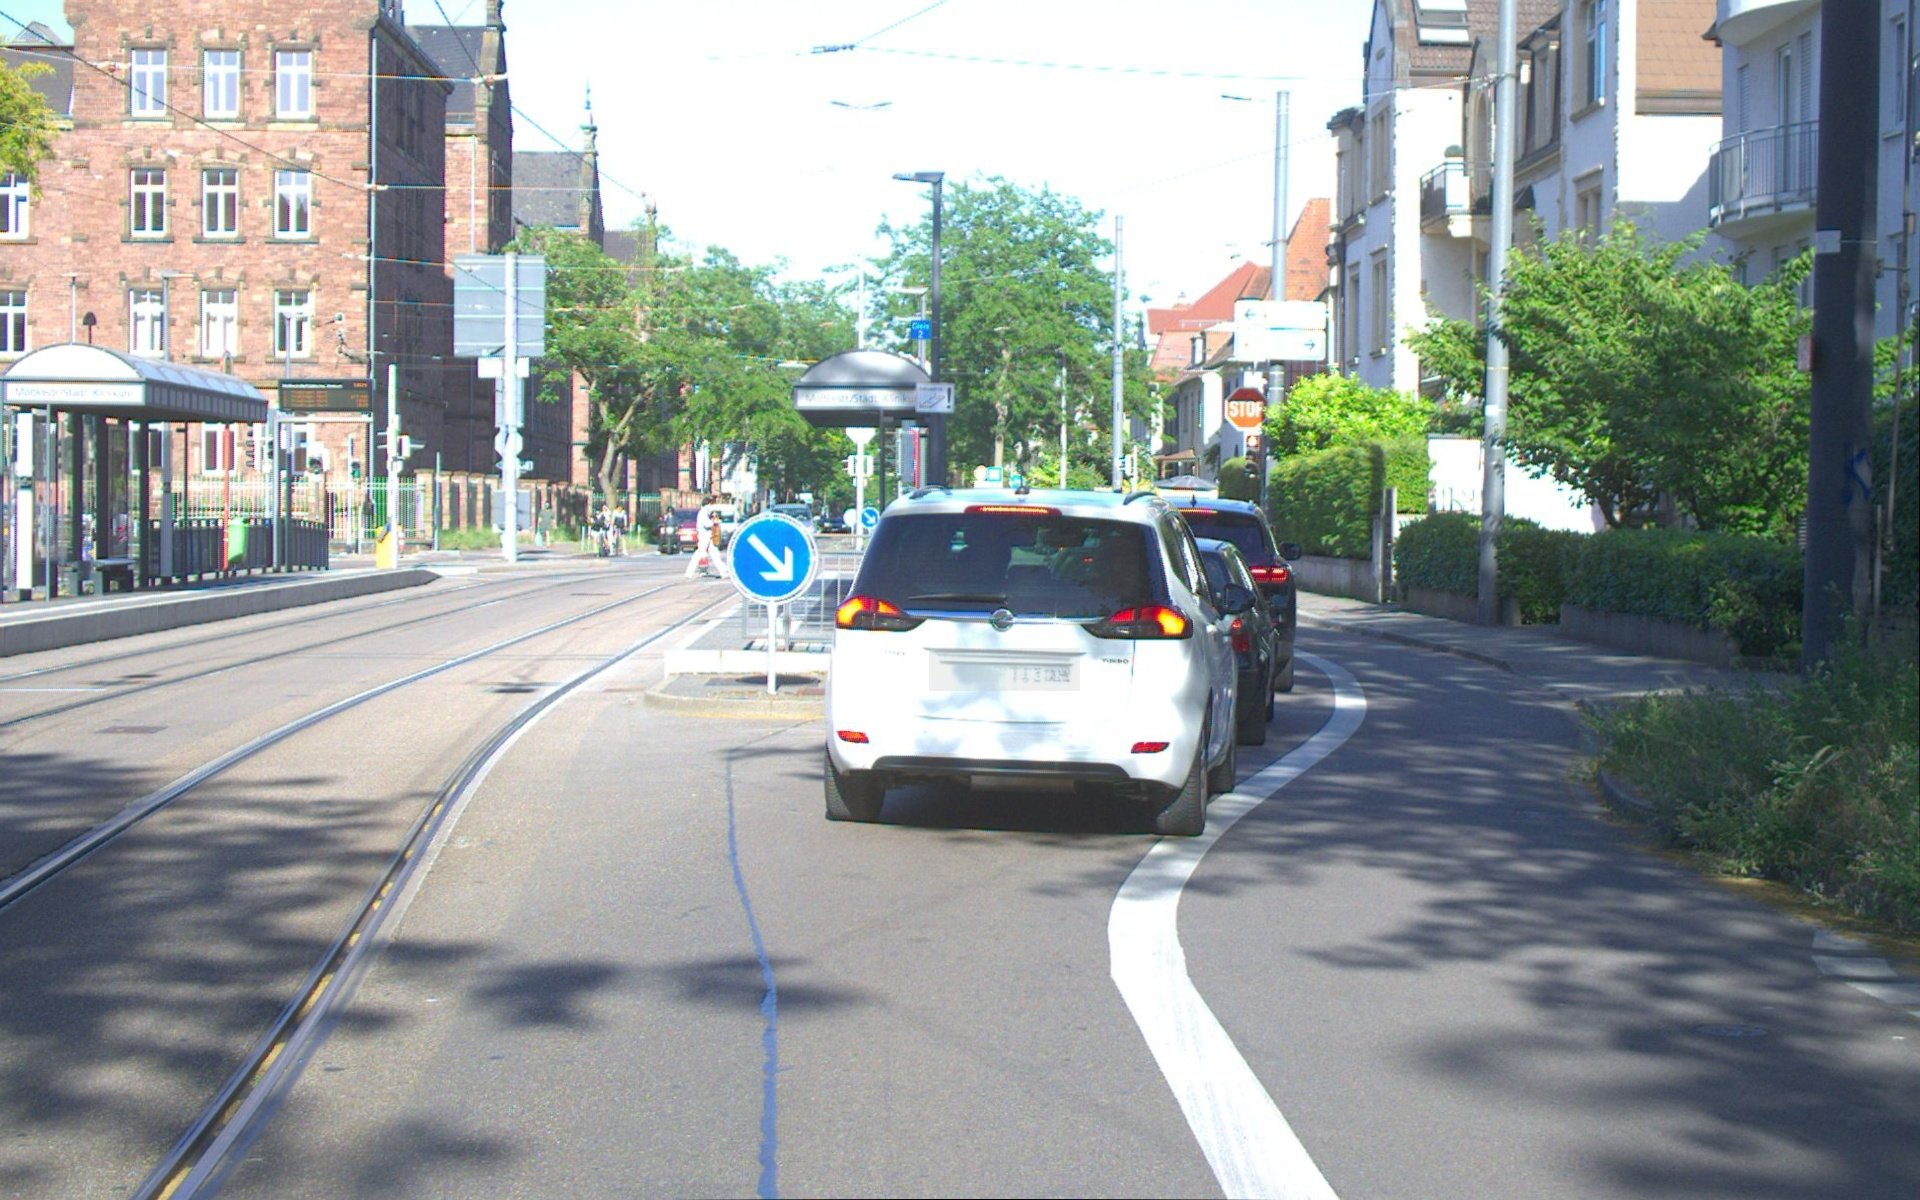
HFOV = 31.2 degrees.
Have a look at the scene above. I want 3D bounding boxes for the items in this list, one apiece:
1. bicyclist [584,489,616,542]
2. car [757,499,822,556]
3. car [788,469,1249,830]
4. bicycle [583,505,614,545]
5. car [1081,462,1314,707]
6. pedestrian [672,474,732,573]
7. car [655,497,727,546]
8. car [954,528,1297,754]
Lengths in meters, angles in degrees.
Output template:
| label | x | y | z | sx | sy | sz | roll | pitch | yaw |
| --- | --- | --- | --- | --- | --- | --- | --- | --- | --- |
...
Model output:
| label | x | y | z | sx | sy | sz | roll | pitch | yaw |
| --- | --- | --- | --- | --- | --- | --- | --- | --- | --- |
| bicyclist | -11.866 | -2.786 | 113.285 | 0.943 | 1.728 | 0.861 | 1 | 1 | -1 |
| car | -5.801 | -2.456 | 117.439 | 1.993 | 1.907 | 4.000 | 1 | 1 | 0 |
| car | 0.431 | 0.237 | 17.629 | 1.893 | 1.605 | 4.227 | 1 | 0 | 7 |
| bicycle | -11.876 | -2.454 | 113.004 | 0.821 | 1.292 | 2.678 | 1 | 1 | -2 |
| car | 2.160 | -0.175 | 30.375 | 1.709 | 2.007 | 3.905 | 0 | 1 | 9 |
| pedestrian | -5.316 | -1.586 | 70.973 | 1.155 | 2.006 | 1.120 | 0 | 2 | 0 |
| car | -9.691 | -2.848 | 124.051 | 1.994 | 1.716 | 4.000 | 1 | 1 | 4 |
| car | 1.257 | 0.218 | 24.268 | 1.994 | 1.437 | 3.999 | 0 | 1 | 9 |
